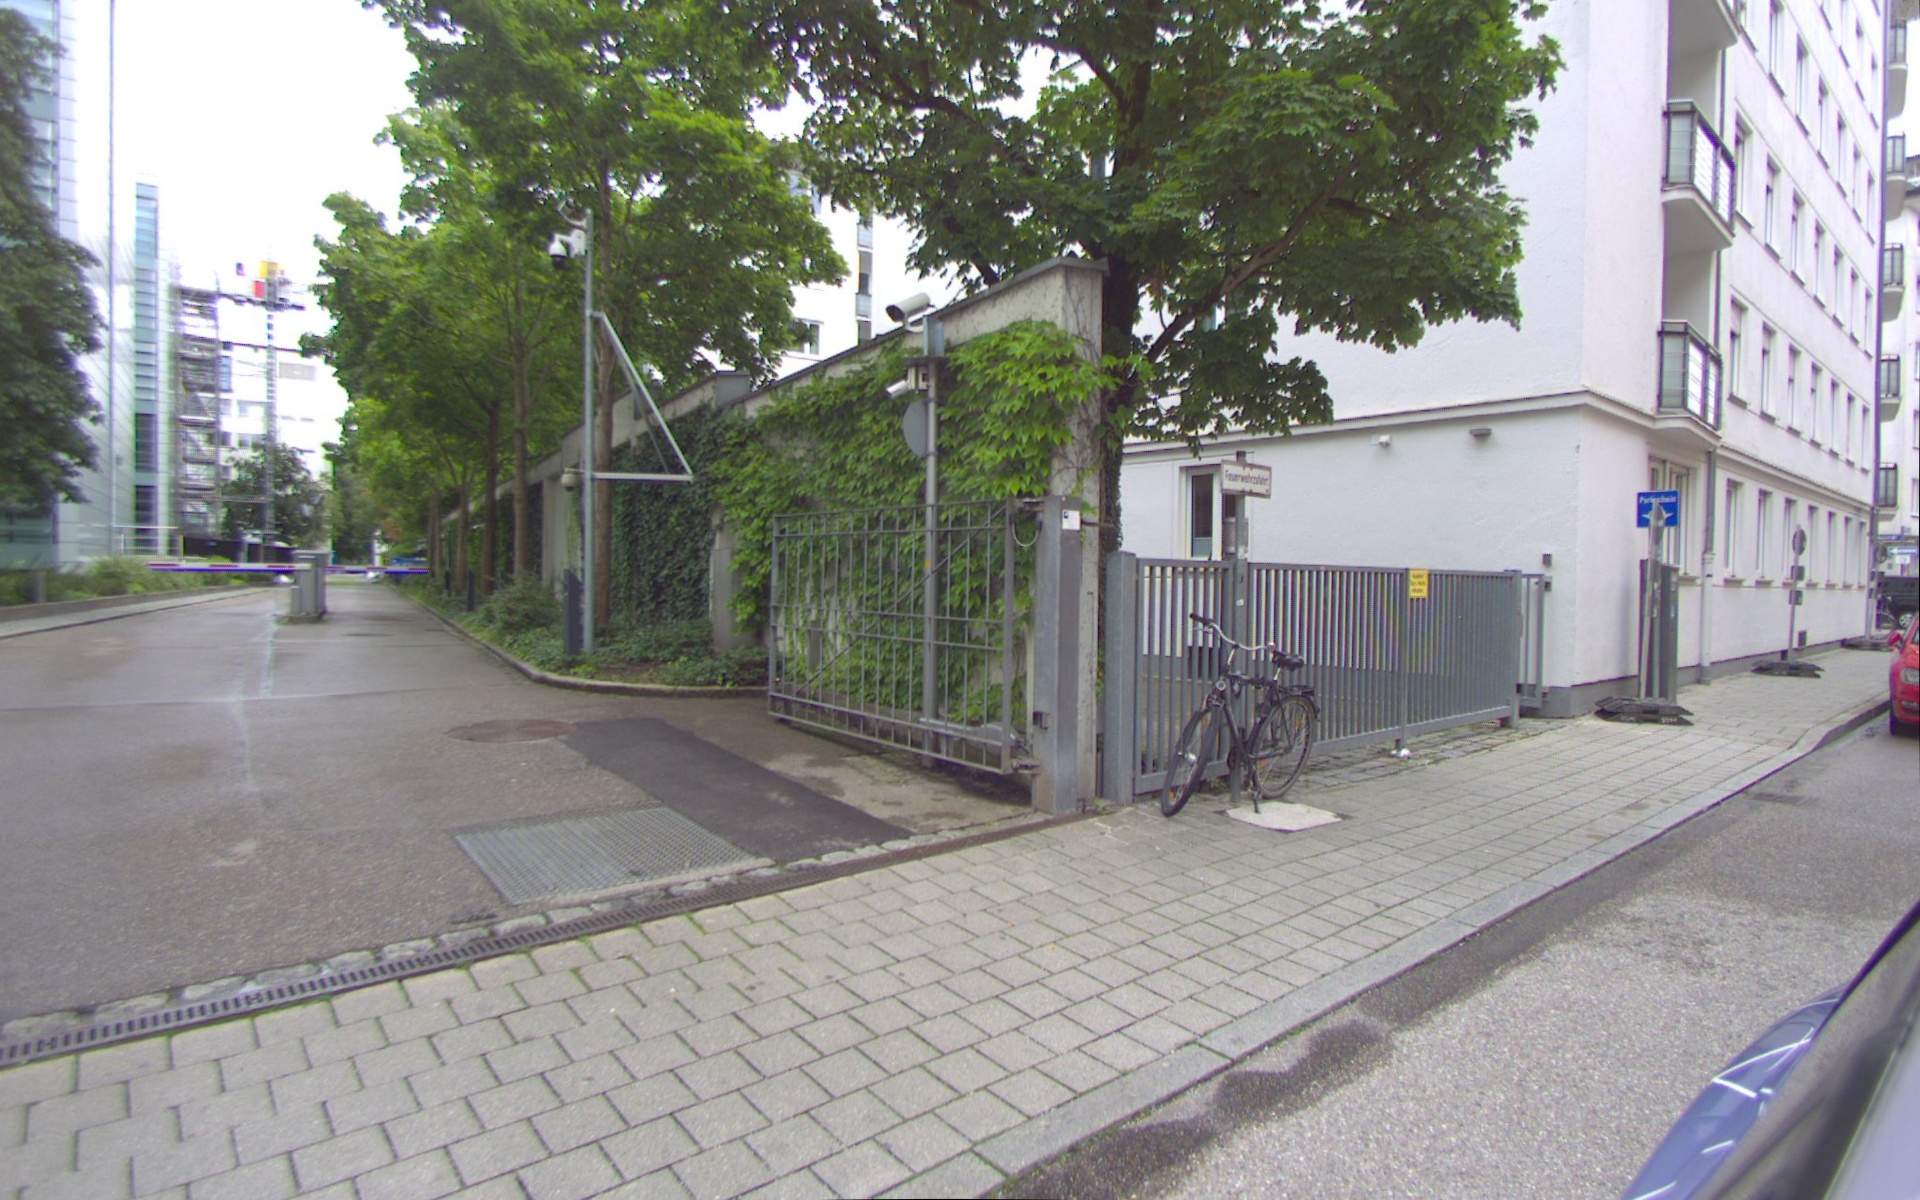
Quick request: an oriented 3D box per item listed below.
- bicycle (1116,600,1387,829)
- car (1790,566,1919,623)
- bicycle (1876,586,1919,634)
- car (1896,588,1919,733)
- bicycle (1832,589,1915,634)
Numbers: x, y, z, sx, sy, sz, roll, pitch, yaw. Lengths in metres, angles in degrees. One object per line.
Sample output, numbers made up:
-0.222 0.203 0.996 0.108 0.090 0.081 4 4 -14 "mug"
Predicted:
1.861 0.656 6.313 1.801 1.213 0.709 3 -1 -40 "bicycle"
32.762 -0.202 35.956 1.896 1.914 4.687 1 2 -32 "car"
25.347 0.252 27.318 0.395 1.219 1.494 3 3 24 "bicycle"
11.678 0.594 11.322 1.760 1.465 4.232 0 0 43 "car"
23.775 0.292 26.364 1.490 1.056 0.395 4 4 32 "bicycle"
